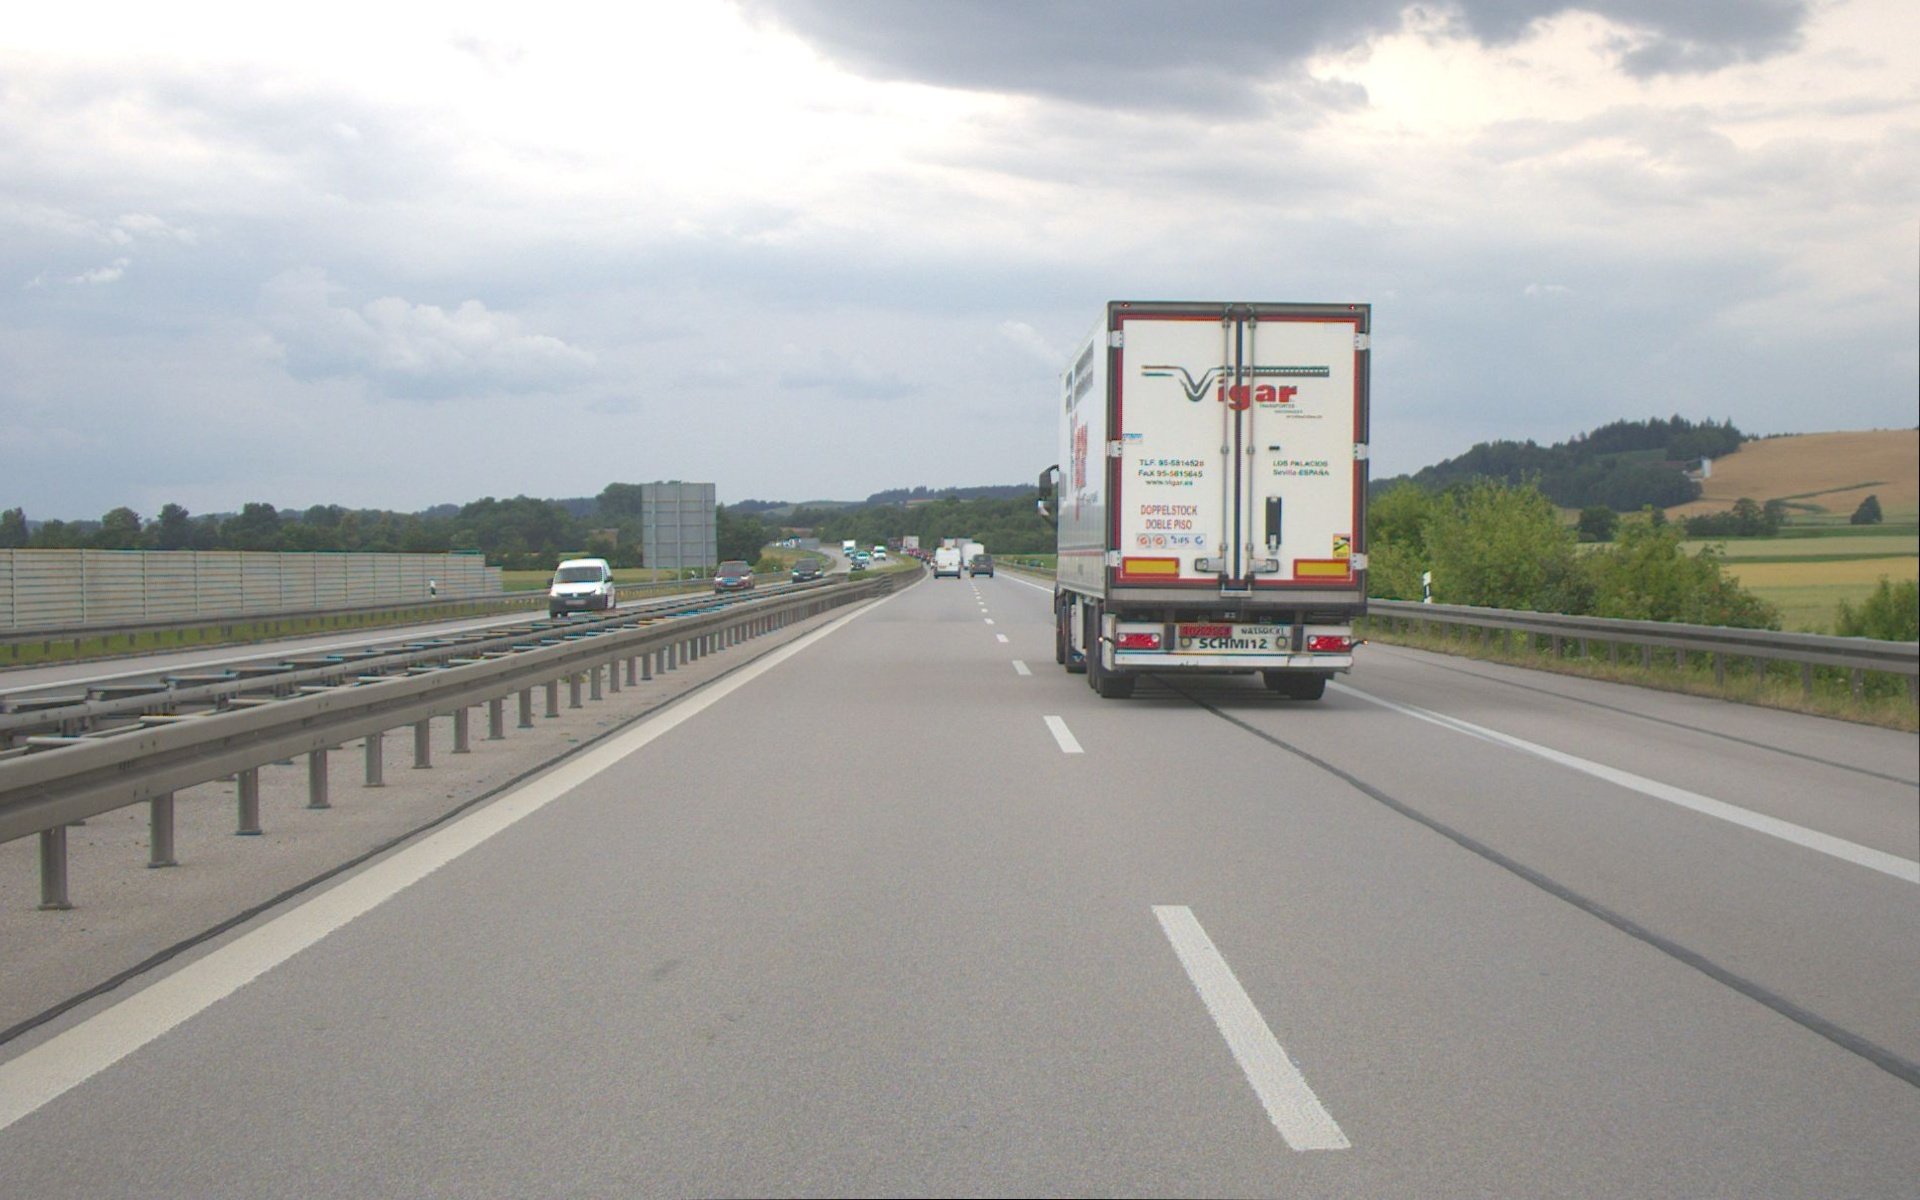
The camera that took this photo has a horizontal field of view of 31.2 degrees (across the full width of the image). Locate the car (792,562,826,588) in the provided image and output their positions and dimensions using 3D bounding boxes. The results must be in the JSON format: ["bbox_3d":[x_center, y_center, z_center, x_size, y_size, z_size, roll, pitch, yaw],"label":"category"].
[{"bbox_3d":[-9.790,-1.625,223.008,1.895,1.626,4.174,-3,1,0],"label":"car"}]

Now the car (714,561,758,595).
[{"bbox_3d":[-11.268,-1.110,173.093,1.895,1.626,4.174,-3,1,0],"label":"car"}]

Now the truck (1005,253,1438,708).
[{"bbox_3d":[2.648,-1.305,41.508,3.672,4.397,16.342,0,1,-1],"label":"truck"}]

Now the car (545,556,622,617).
[{"bbox_3d":[-11.763,-0.445,107.667,1.755,1.736,4.914,-3,1,0],"label":"car"}]
